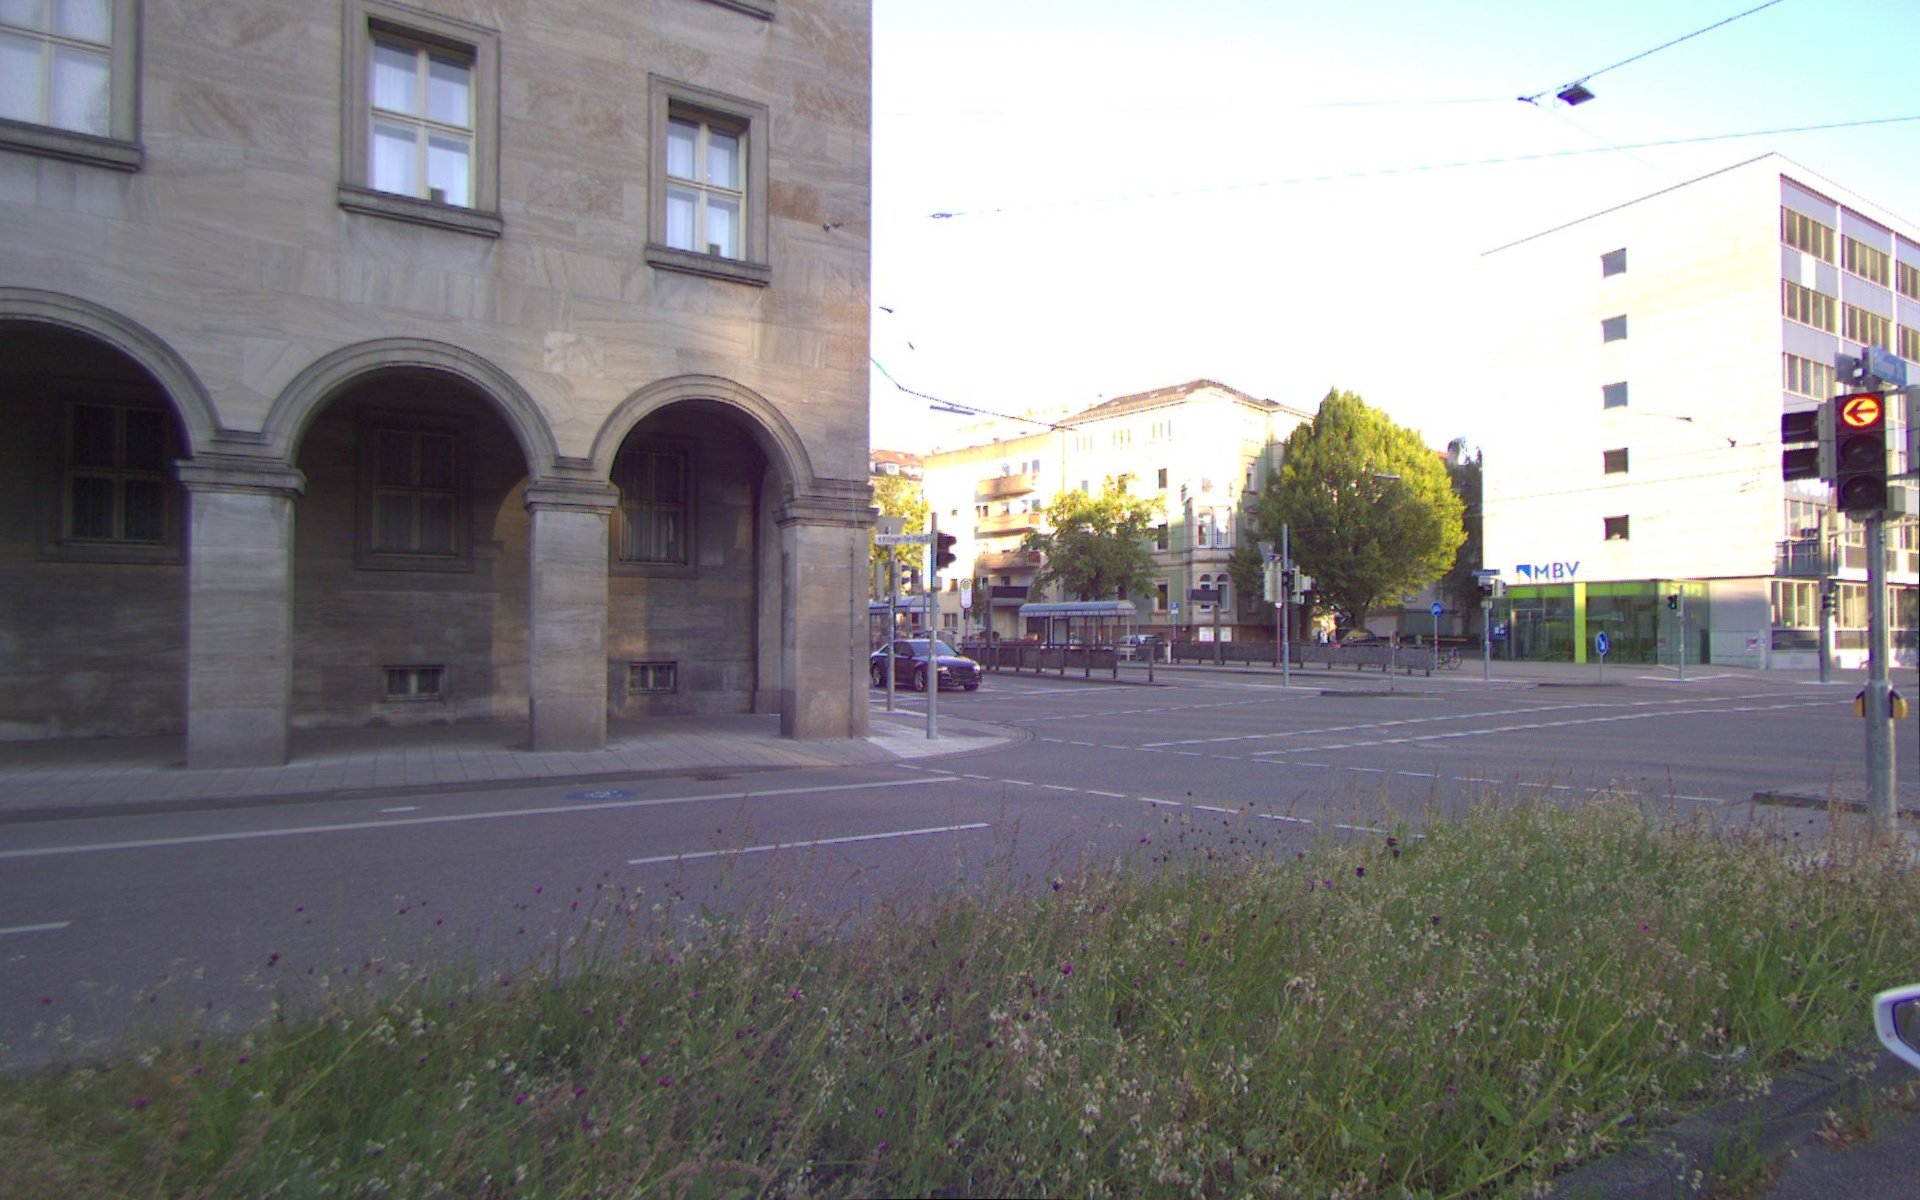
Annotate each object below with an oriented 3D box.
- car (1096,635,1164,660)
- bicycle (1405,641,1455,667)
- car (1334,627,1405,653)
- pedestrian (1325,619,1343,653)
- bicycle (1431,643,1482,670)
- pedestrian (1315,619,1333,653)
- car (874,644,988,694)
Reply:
[{"bbox_3d":[10.002,2.772,59.232,3.545,1.390,1.830,-2,-3,45],"label":"car"},{"bbox_3d":[20.962,2.407,44.808,2.183,1.127,0.834,1,-2,-26],"label":"bicycle"},{"bbox_3d":[22.339,2.179,54.797,3.553,1.390,1.826,1,-2,-32],"label":"car"},{"bbox_3d":[20.086,1.919,53.900,0.718,1.813,0.634,2,-2,-43],"label":"pedestrian"},{"bbox_3d":[21.590,2.436,43.643,2.183,1.127,0.834,1,-2,-26],"label":"bicycle"},{"bbox_3d":[19.408,1.925,53.510,0.718,1.813,0.634,2,-2,-44],"label":"pedestrian"},{"bbox_3d":[-0.924,1.983,29.720,1.791,1.344,4.120,1,-2,-27],"label":"car"}]
